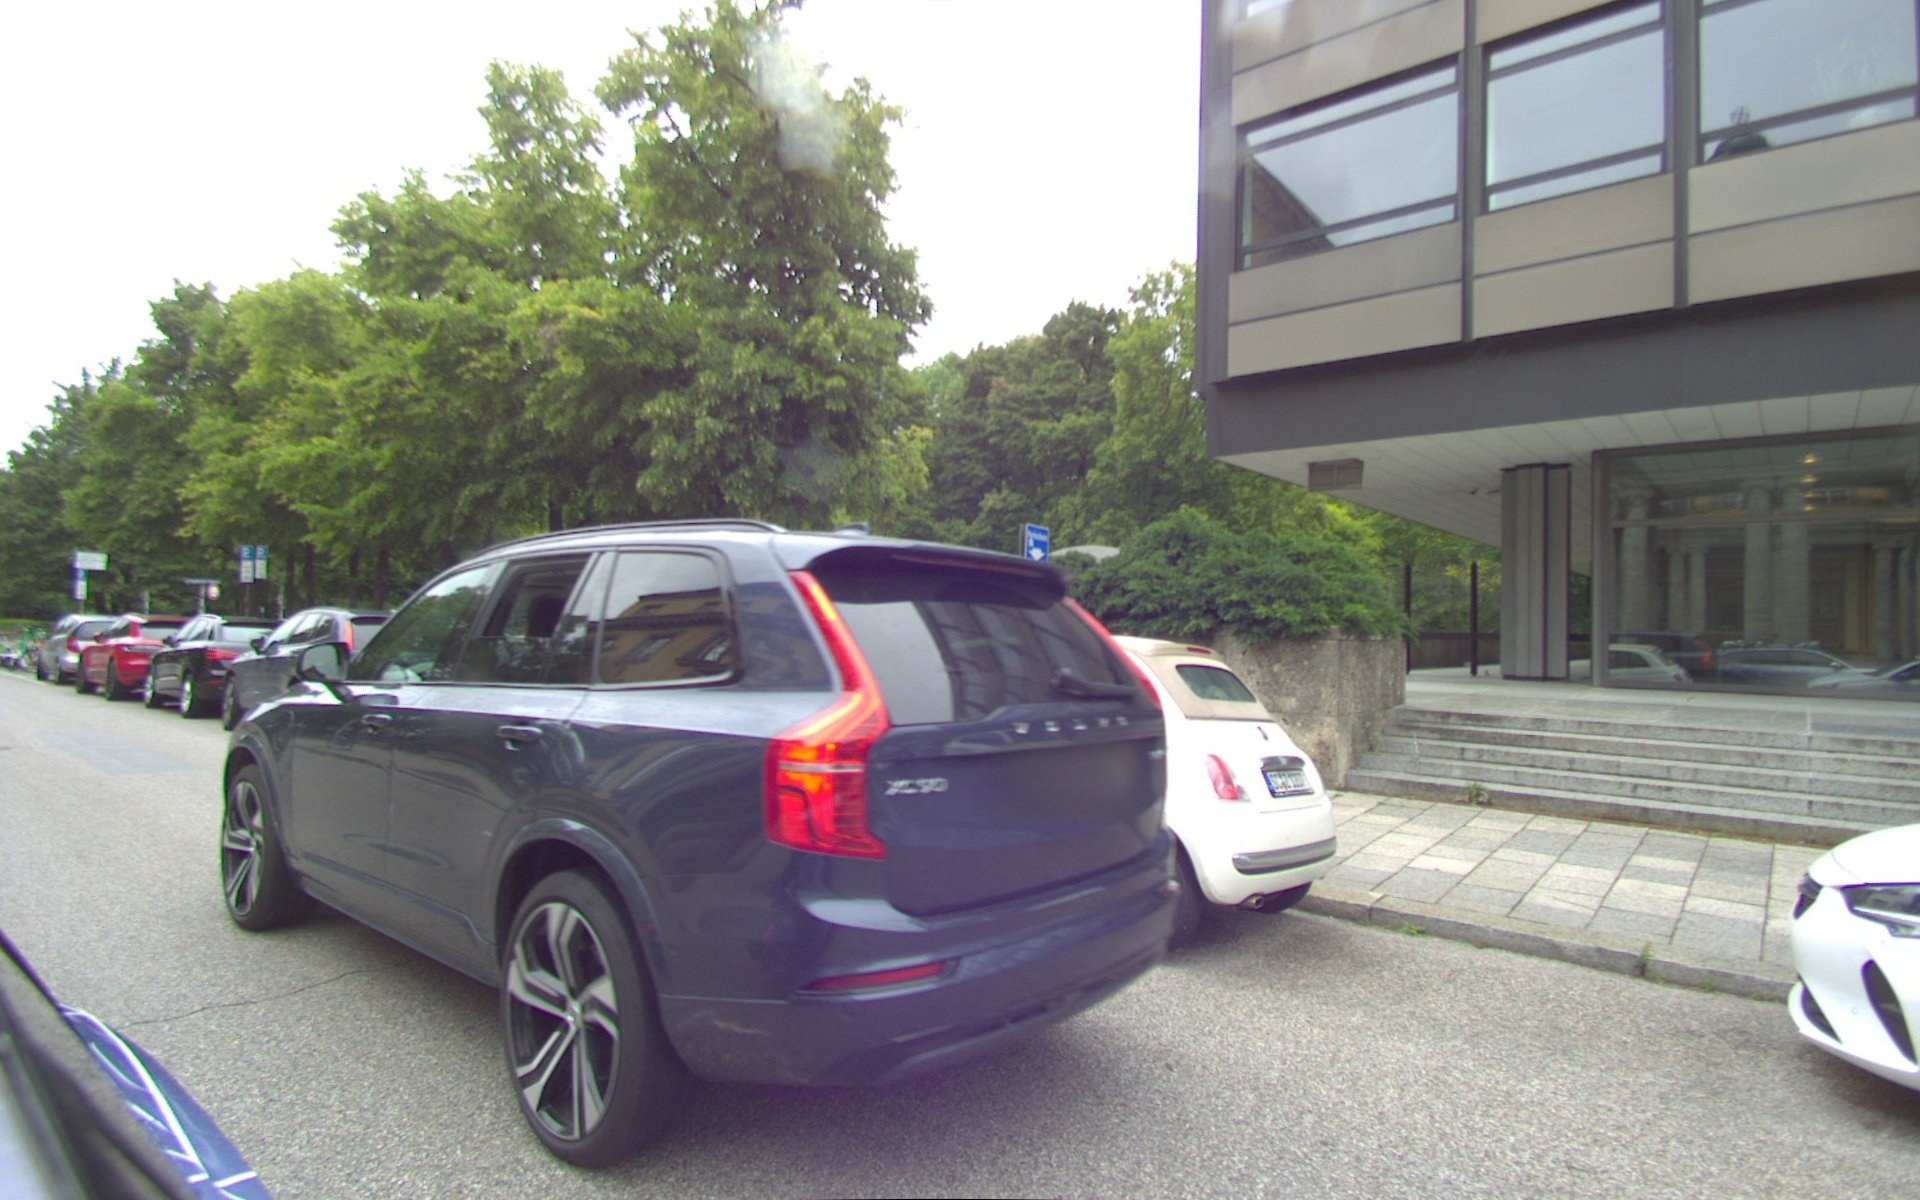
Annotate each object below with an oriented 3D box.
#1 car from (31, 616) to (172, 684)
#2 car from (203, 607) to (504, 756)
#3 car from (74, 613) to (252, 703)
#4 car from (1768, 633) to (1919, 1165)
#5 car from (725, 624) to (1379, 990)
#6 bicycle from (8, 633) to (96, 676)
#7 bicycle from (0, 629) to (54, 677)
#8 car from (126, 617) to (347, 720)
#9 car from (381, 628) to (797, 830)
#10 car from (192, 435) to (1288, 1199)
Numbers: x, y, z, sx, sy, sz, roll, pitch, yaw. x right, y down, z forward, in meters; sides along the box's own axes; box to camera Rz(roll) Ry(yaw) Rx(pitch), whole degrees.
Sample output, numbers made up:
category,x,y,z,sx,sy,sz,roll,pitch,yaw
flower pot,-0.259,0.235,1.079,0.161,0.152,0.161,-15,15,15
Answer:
category,x,y,z,sx,sy,sz,roll,pitch,yaw
car,-20.702,1.174,24.348,4.362,1.472,1.972,-1,-3,42
car,-7.963,0.953,13.120,4.519,1.595,1.973,-1,-3,41
car,-15.691,1.088,19.842,4.362,1.555,1.972,-1,-3,42
car,4.563,0.866,2.230,4.277,1.451,1.664,-1,-5,41
car,0.364,0.914,5.885,3.550,1.482,1.527,-1,-4,41
bicycle,-24.796,1.465,27.667,0.597,1.116,1.681,0,-2,32
bicycle,-26.178,1.479,28.397,0.566,1.292,1.423,0,-1,-17
car,-12.061,1.063,16.754,4.645,1.472,1.972,-1,-3,42
car,-3.534,1.024,9.242,4.216,1.411,1.739,-1,-6,42
car,-1.391,0.628,4.252,4.910,1.694,1.939,-1,-4,42
